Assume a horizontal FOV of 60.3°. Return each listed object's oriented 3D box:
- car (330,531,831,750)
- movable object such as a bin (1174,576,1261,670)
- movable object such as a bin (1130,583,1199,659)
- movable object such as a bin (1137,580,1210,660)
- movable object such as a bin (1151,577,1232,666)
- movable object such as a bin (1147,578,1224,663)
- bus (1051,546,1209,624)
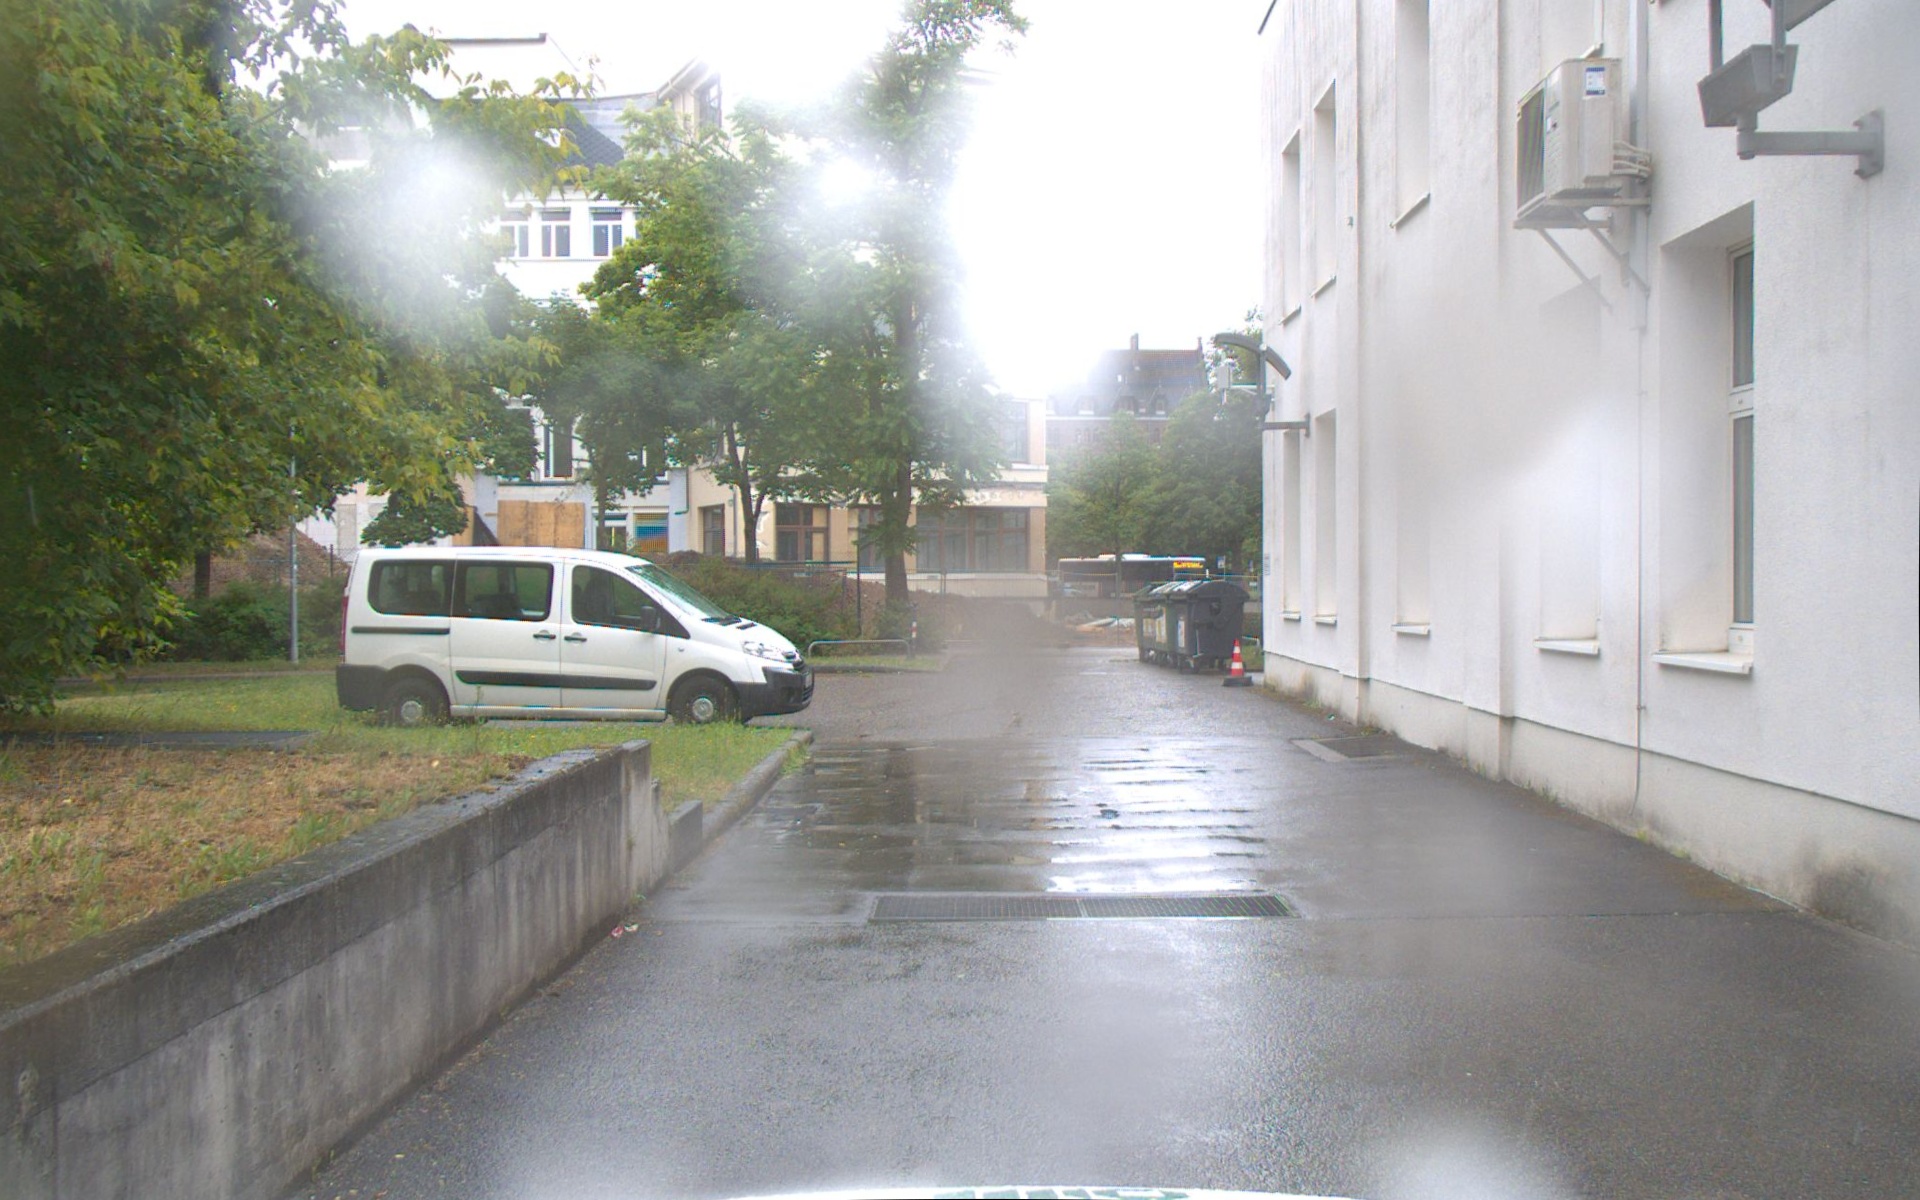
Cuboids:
[{"bbox_3d":[-3.820,0.385,17.252,4.681,2.048,2.001,-1,1,2],"label":"car"},{"bbox_3d":[4.098,0.375,26.442,1.190,1.462,1.235,0,-2,-1],"label":"movable object such as a bin"},{"bbox_3d":[4.007,0.428,32.525,1.190,1.462,1.259,0,-2,-1],"label":"movable object such as a bin"},{"bbox_3d":[4.005,0.386,31.146,1.190,1.462,1.259,0,-2,-1],"label":"movable object such as a bin"},{"bbox_3d":[3.919,0.374,28.137,1.190,1.462,1.294,0,-2,-1],"label":"movable object such as a bin"},{"bbox_3d":[4.041,0.381,29.769,1.190,1.494,1.235,0,-2,-1],"label":"movable object such as a bin"},{"bbox_3d":[9.384,-0.708,93.674,2.775,3.942,11.944,1,-2,-28],"label":"bus"}]
